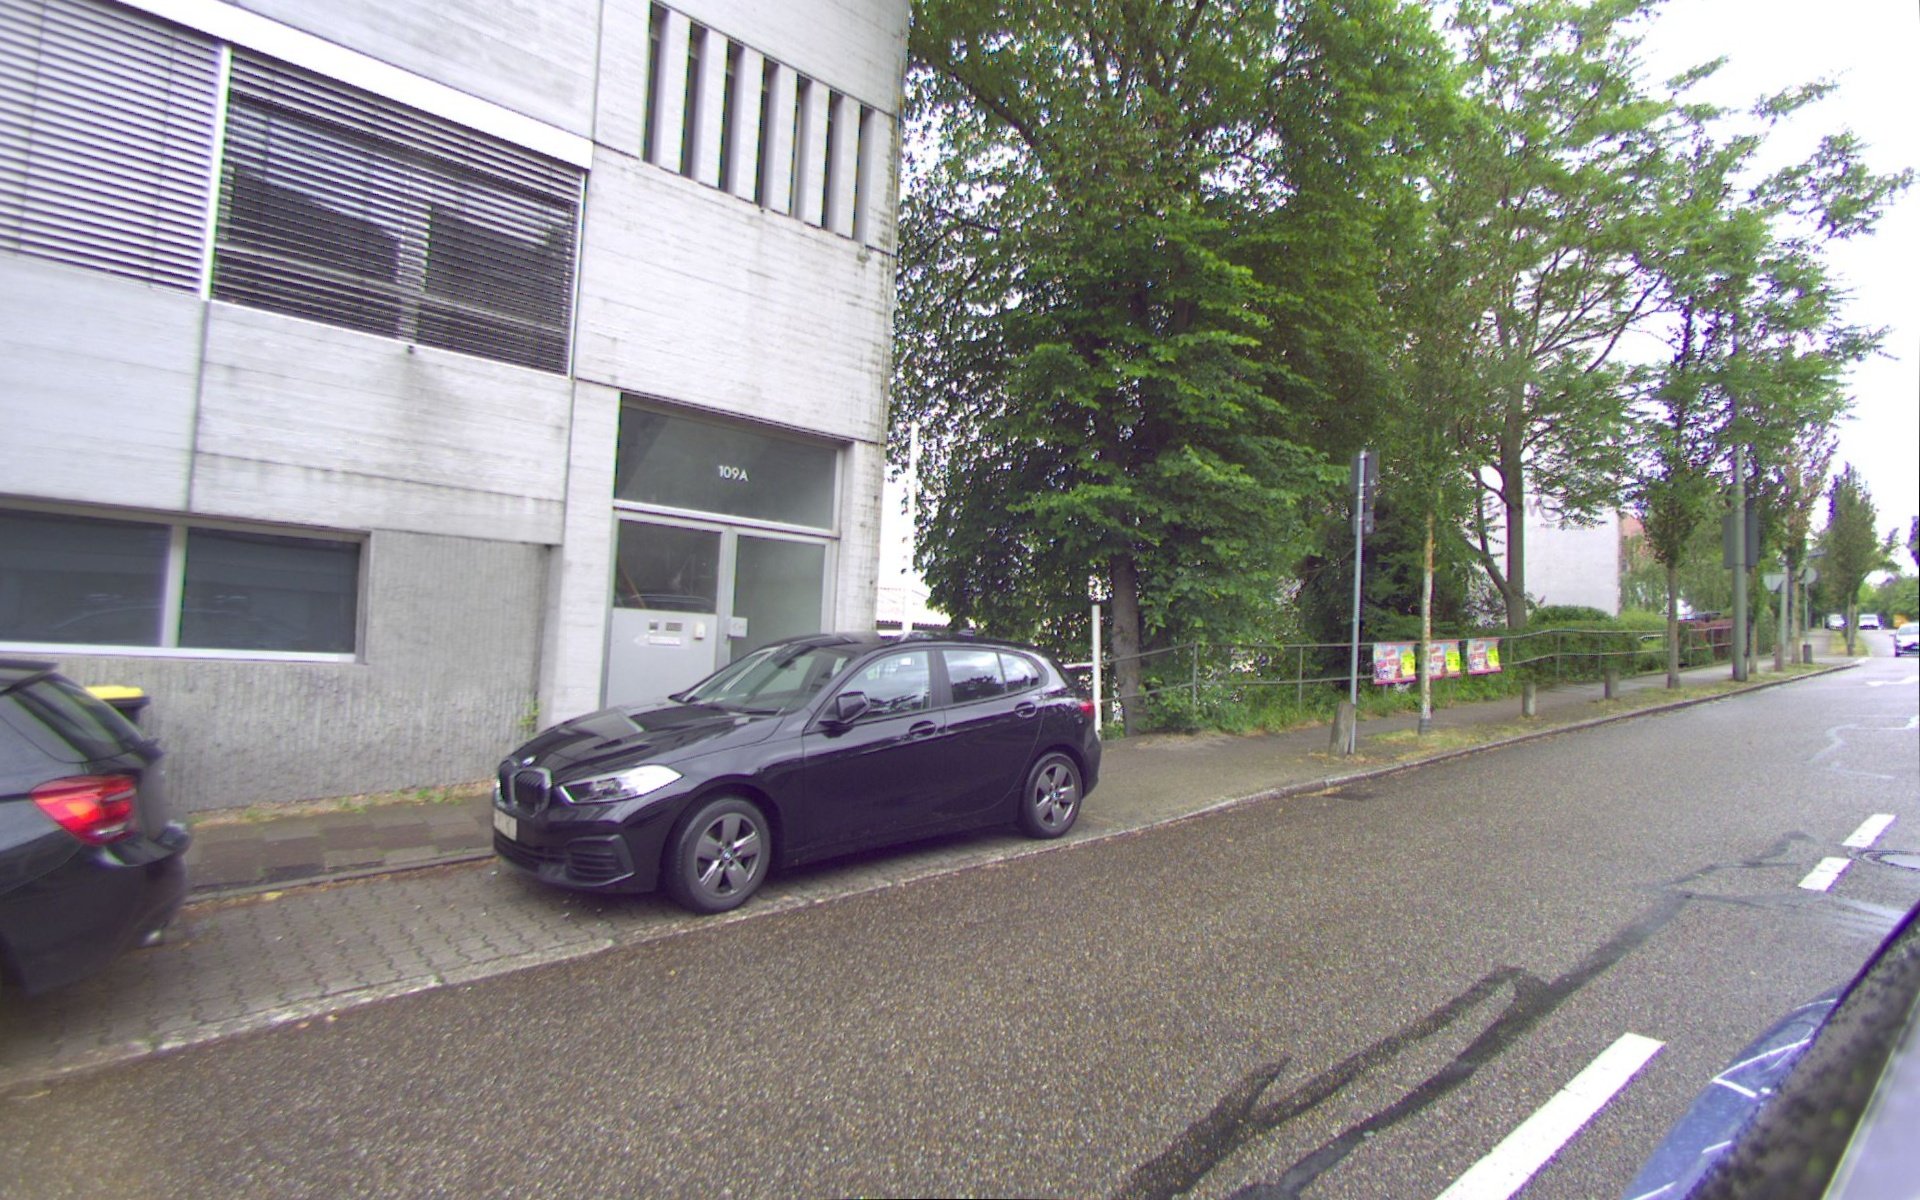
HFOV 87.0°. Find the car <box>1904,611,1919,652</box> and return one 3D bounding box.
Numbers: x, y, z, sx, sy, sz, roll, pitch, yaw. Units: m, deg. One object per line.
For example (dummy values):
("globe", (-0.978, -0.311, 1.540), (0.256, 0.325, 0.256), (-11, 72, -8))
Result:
("car", (44.356, 1.439, 46.116), (1.887, 1.741, 4.170), (2, 2, 44))

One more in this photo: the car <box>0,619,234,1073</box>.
("car", (-4.884, 0.835, 3.172), (4.173, 1.466, 1.753), (0, 0, -38))

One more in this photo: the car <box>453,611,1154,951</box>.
("car", (-0.819, 0.868, 6.931), (4.367, 1.453, 1.997), (0, 2, -43))
